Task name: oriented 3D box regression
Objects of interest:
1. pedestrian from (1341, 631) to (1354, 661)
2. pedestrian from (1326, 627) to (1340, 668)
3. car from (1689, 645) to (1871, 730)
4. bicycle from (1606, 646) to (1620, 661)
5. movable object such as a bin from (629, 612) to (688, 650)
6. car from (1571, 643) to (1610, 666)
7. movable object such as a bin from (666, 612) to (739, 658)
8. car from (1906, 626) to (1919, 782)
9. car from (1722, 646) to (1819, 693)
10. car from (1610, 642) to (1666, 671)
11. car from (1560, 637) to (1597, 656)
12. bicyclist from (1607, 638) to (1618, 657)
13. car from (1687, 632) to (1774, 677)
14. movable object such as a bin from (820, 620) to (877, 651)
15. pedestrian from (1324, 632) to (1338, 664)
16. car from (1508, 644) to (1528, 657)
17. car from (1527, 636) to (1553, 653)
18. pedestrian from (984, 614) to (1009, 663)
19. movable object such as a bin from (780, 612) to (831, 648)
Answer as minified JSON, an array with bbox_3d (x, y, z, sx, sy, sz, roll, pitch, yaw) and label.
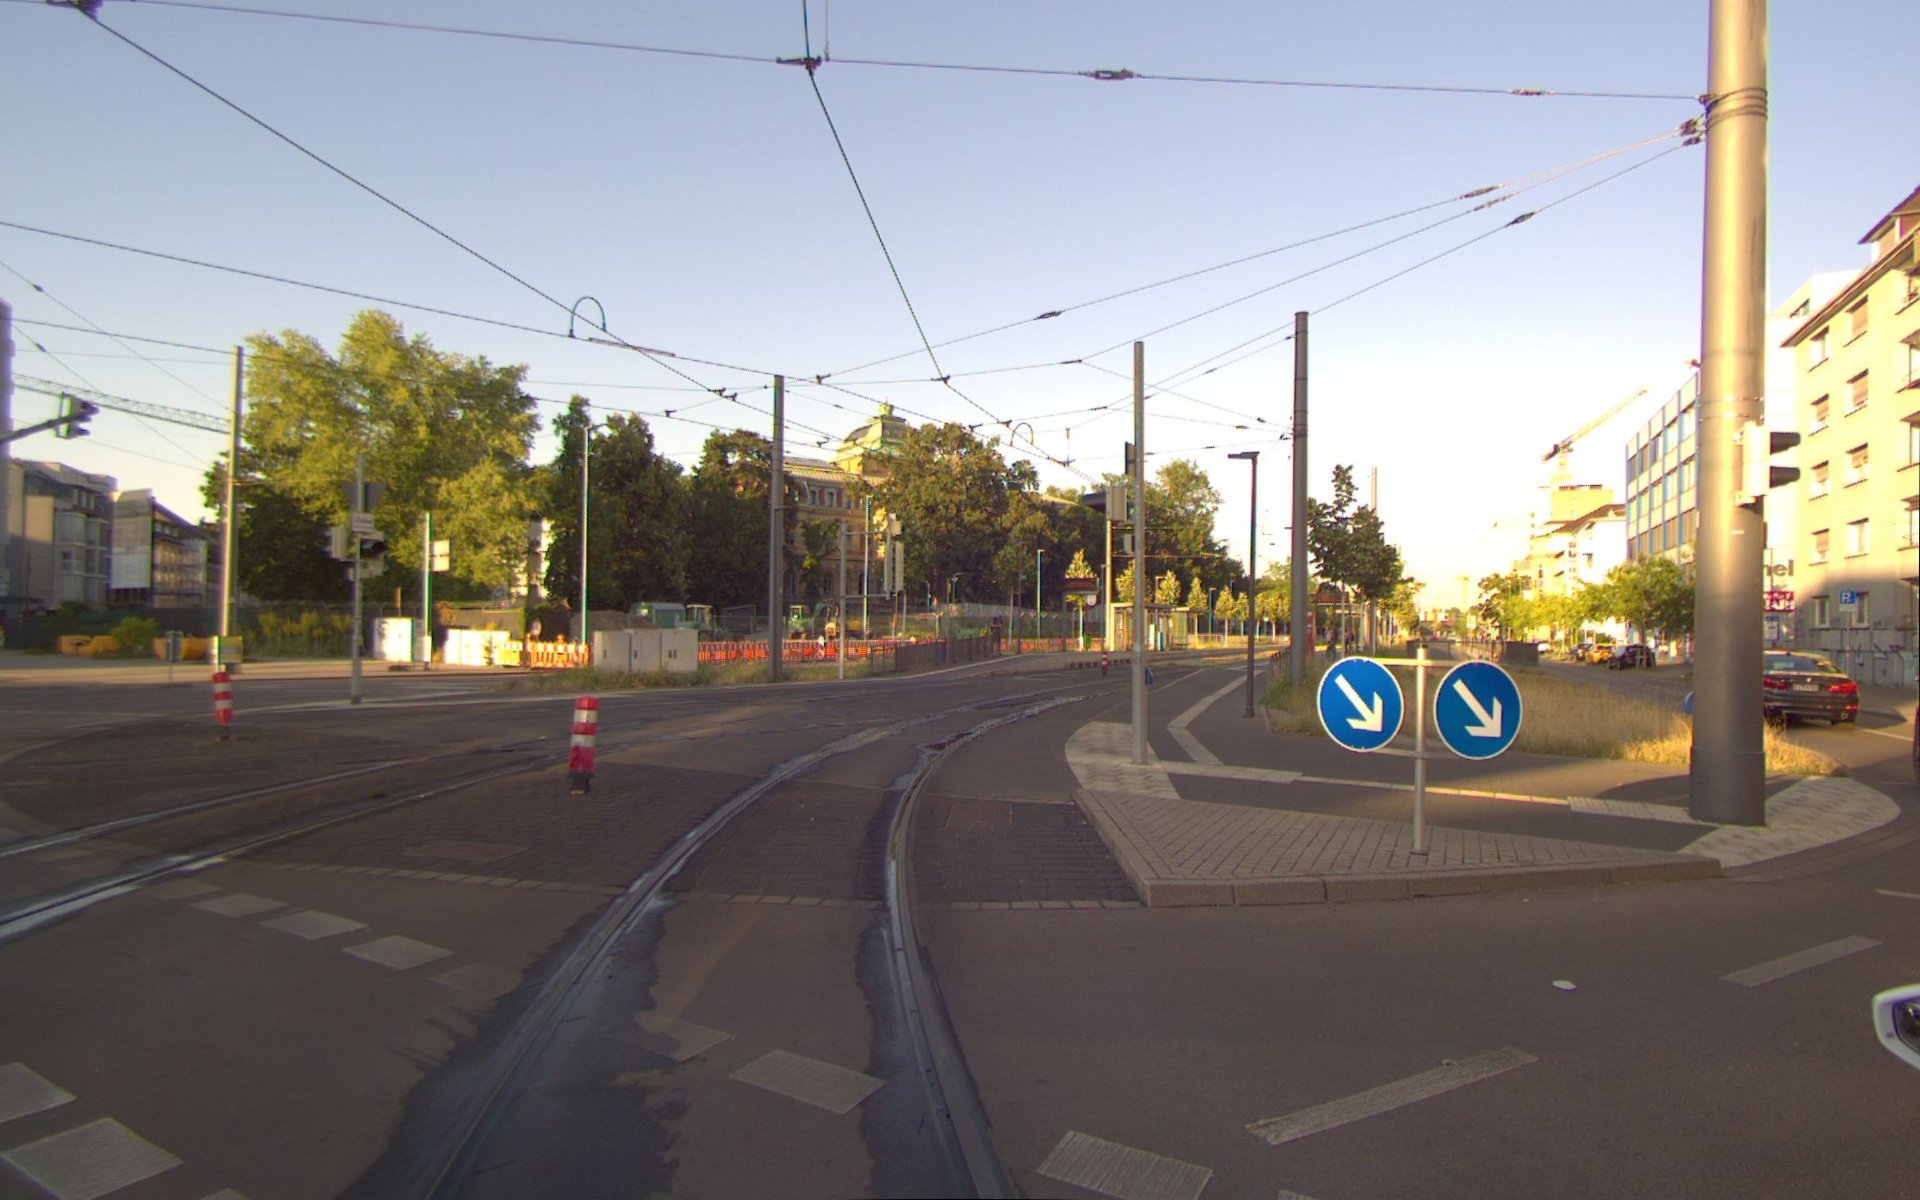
[{"bbox_3d":[22.720,2.671,58.937,0.623,1.751,0.636,0,-2,13],"label":"pedestrian"},{"bbox_3d":[16.577,2.120,44.666,0.464,1.810,0.624,0,-2,32],"label":"pedestrian"},{"bbox_3d":[16.817,1.728,20.851,1.828,1.481,4.191,2,-2,24],"label":"car"},{"bbox_3d":[52.382,4.304,80.606,0.545,1.144,1.973,-3,-4,23],"label":"bicycle"},{"bbox_3d":[-22.791,2.367,76.065,1.963,2.742,3.996,0,-2,27],"label":"movable object such as a bin"},{"bbox_3d":[43.513,3.719,69.426,1.656,1.473,4.128,0,-2,23],"label":"car"},{"bbox_3d":[-15.839,2.193,61.970,1.969,2.742,3.984,0,-2,38],"label":"movable object such as a bin"},{"bbox_3d":[10.750,1.111,9.719,1.834,1.736,4.177,2,-2,37],"label":"car"},{"bbox_3d":[28.171,2.373,35.049,1.642,1.538,3.601,-1,-2,22],"label":"car"},{"bbox_3d":[39.074,3.235,58.028,1.790,1.587,4.808,0,-2,23],"label":"car"},{"bbox_3d":[48.300,3.626,78.516,1.790,1.473,4.127,-1,-3,23],"label":"car"},{"bbox_3d":[52.400,3.826,80.714,0.549,1.494,0.622,-3,-3,23],"label":"bicyclist"},{"bbox_3d":[30.434,2.128,39.805,1.729,1.675,4.525,-2,-3,25],"label":"car"},{"bbox_3d":[-8.628,2.781,78.041,1.963,2.276,4.934,0,-2,27],"label":"movable object such as a bin"},{"bbox_3d":[20.425,2.650,55.305,0.713,1.768,0.636,0,-1,18],"label":"pedestrian"},{"bbox_3d":[73.092,6.612,131.650,1.764,1.490,4.444,-3,-3,22],"label":"car"},{"bbox_3d":[60.695,4.648,105.161,1.824,1.729,4.252,0,-2,23],"label":"car"},{"bbox_3d":[1.411,1.481,38.659,0.683,1.821,0.816,0,-2,27],"label":"pedestrian"},{"bbox_3d":[-12.200,2.369,79.479,1.963,2.742,3.996,0,-2,27],"label":"movable object such as a bin"}]
